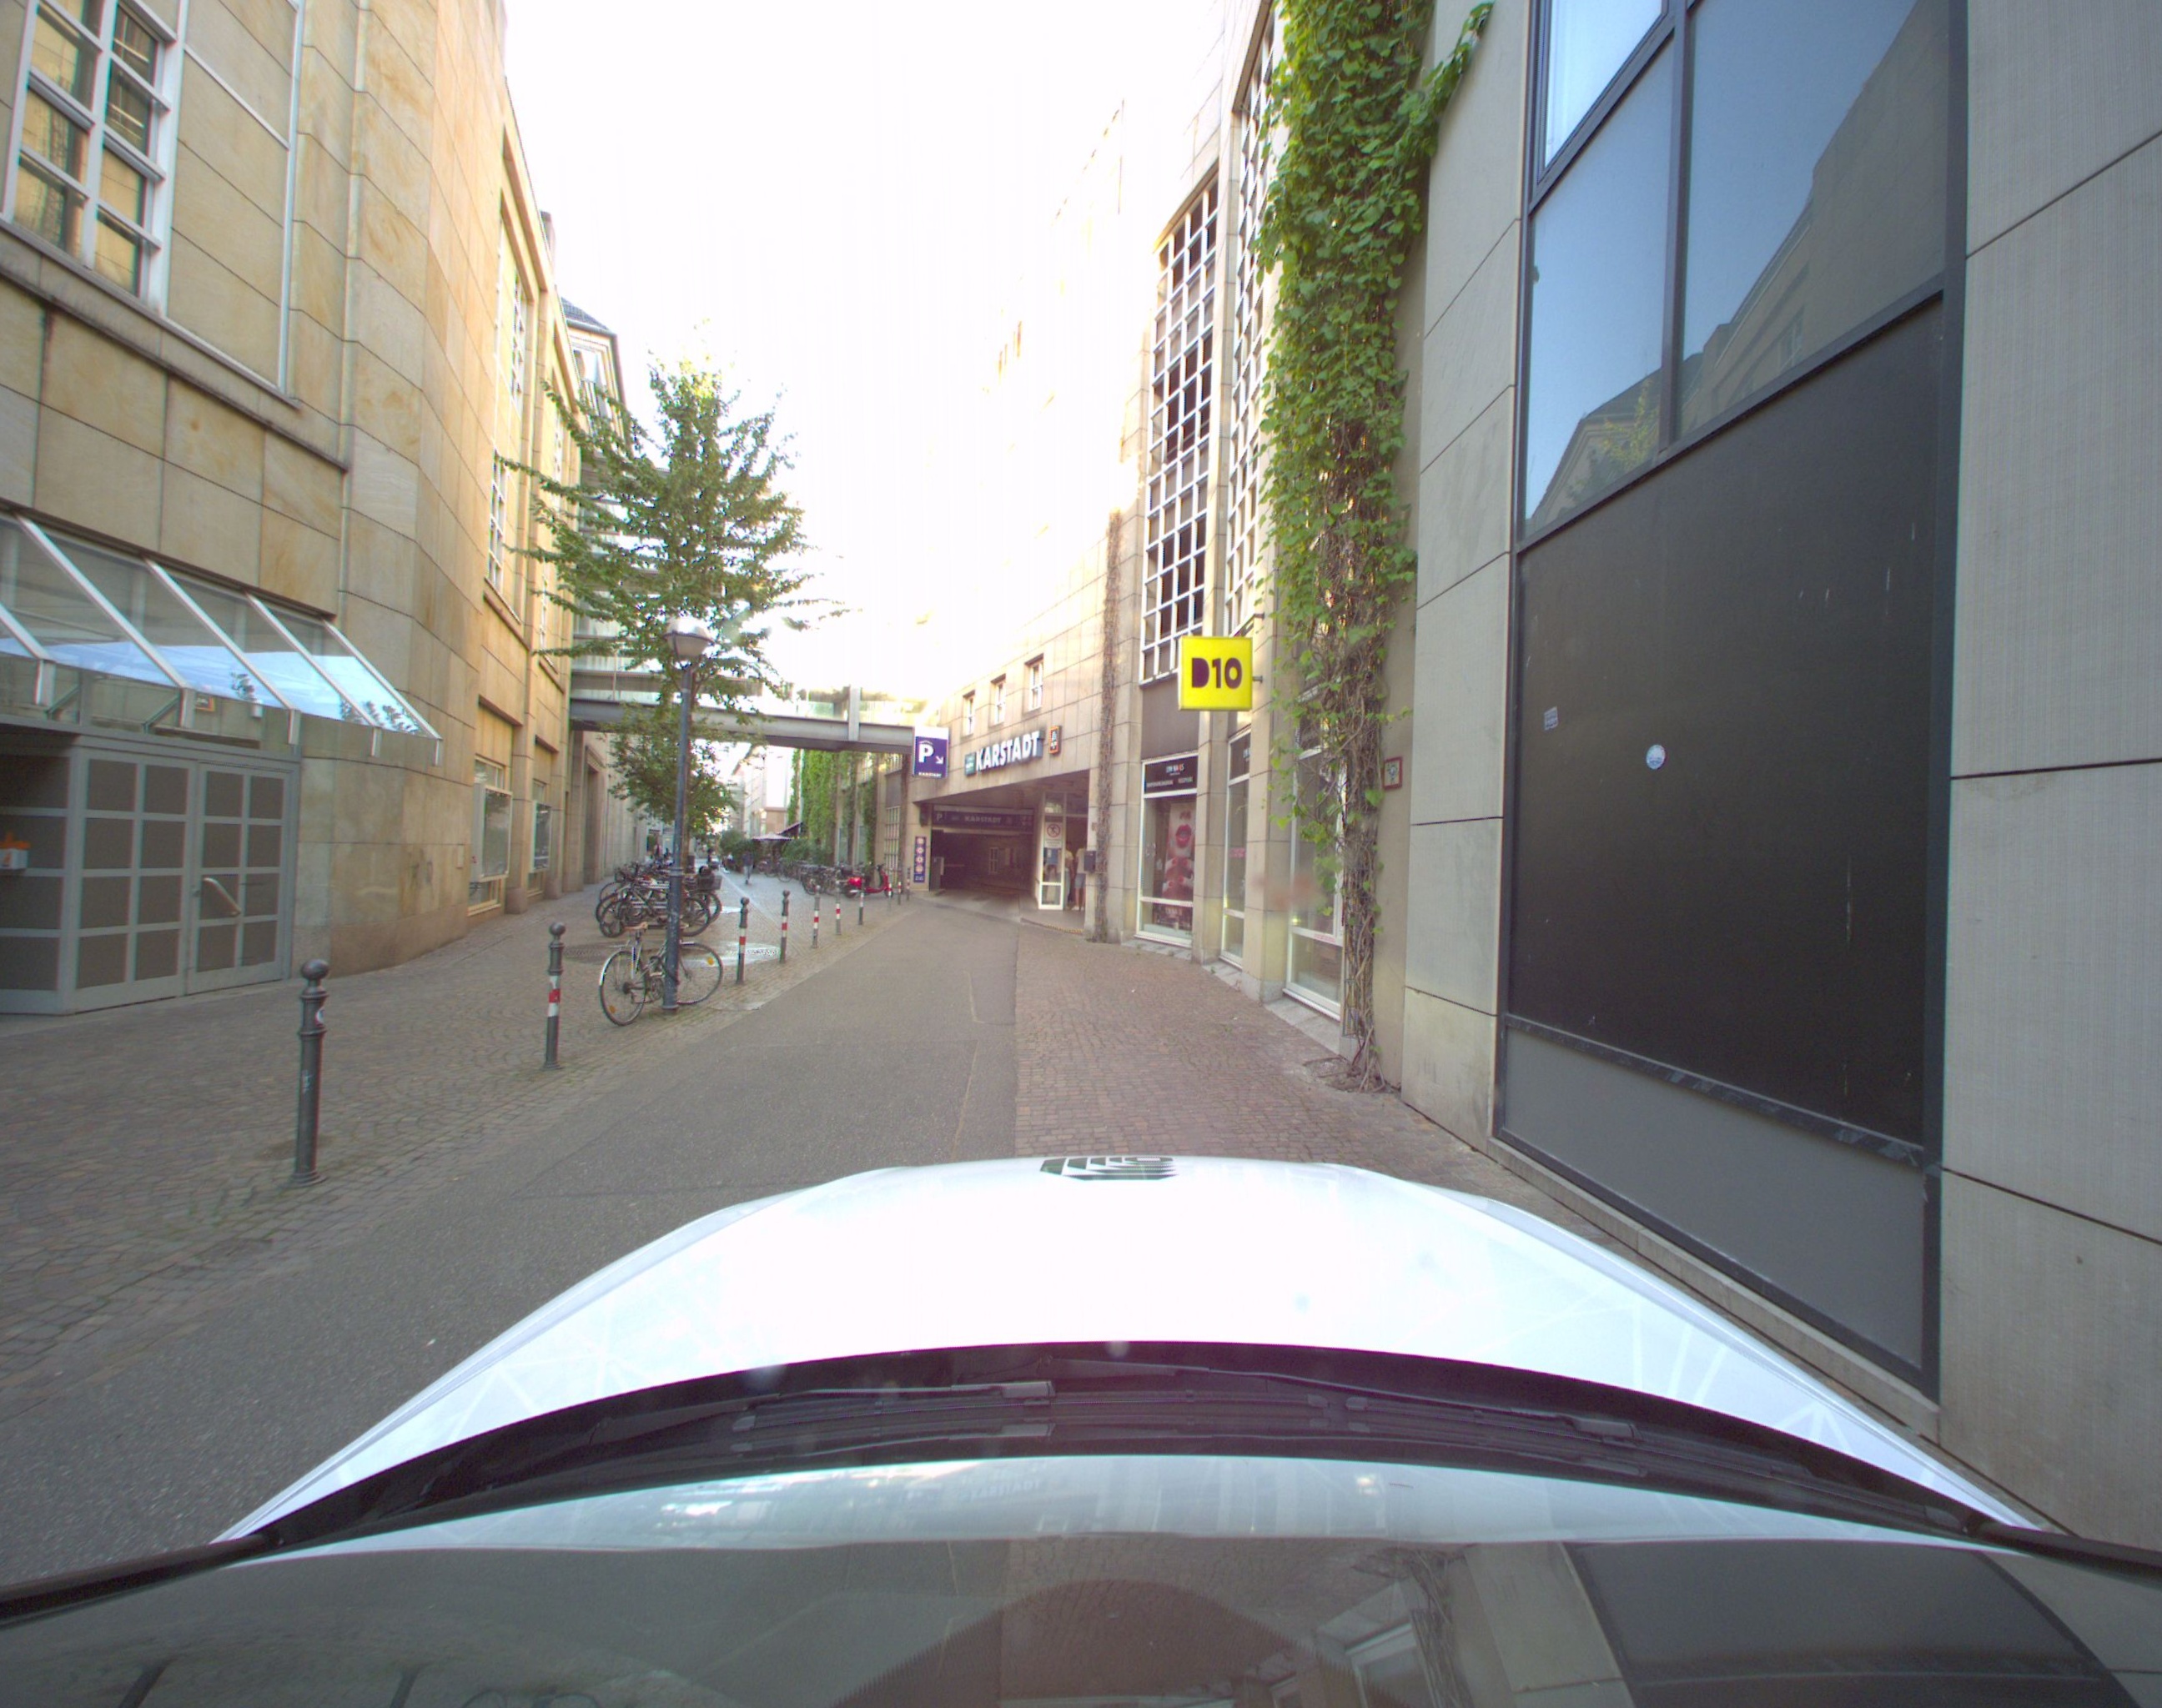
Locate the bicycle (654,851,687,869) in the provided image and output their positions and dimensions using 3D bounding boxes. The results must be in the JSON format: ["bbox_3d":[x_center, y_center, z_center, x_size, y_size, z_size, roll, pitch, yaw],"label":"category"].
[{"bbox_3d":[-28.044,0.422,55.652,1.920,1.182,0.691,2,0,-22],"label":"bicycle"}]

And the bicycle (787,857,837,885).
[{"bbox_3d":[-11.554,0.710,35.017,2.003,1.182,0.688,0,0,-24],"label":"bicycle"}]

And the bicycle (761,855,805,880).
[{"bbox_3d":[-14.631,0.646,39.992,2.003,1.182,0.688,0,0,-24],"label":"bicycle"}]

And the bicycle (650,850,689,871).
[{"bbox_3d":[-23.447,0.379,46.438,1.920,1.182,0.691,2,0,-22],"label":"bicycle"}]

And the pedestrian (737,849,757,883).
[{"bbox_3d":[-15.286,0.548,37.271,0.752,1.509,0.632,1,-1,-27],"label":"pedestrian"}]

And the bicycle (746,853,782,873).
[{"bbox_3d":[-18.963,0.530,48.757,2.003,1.182,0.688,0,0,-24],"label":"bicycle"}]

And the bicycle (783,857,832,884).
[{"bbox_3d":[-12.082,0.724,36.044,2.003,1.182,0.688,0,0,-24],"label":"bicycle"}]

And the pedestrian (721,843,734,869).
[{"bbox_3d":[-24.582,0.126,56.595,0.769,1.804,0.770,1,-1,-26],"label":"pedestrian"}]

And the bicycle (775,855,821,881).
[{"bbox_3d":[-13.317,0.659,38.294,2.003,1.182,0.688,0,0,-24],"label":"bicycle"}]

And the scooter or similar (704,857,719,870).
[{"bbox_3d":[-25.347,0.649,55.844,0.896,0.843,0.904,1,0,-26],"label":"scooter or similar"}]

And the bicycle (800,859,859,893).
[{"bbox_3d":[-9.120,0.782,29.535,2.003,1.182,0.796,0,0,-24],"label":"bicycle"}]

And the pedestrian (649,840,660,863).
[{"bbox_3d":[-34.354,-0.218,65.618,0.778,1.804,0.628,1,-1,-27],"label":"pedestrian"}]

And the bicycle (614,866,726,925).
[{"bbox_3d":[-8.187,0.826,16.308,1.922,1.101,0.690,2,0,-25],"label":"bicycle"}]

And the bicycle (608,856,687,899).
[{"bbox_3d":[-12.475,0.684,23.487,1.920,1.182,0.691,2,0,-22],"label":"bicycle"}]

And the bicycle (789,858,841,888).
[{"bbox_3d":[-11.037,0.772,33.826,2.003,1.182,0.688,0,0,-24],"label":"bicycle"}]

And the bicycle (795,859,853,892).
[{"bbox_3d":[-9.659,0.781,30.621,2.003,1.182,0.796,0,0,-24],"label":"bicycle"}]

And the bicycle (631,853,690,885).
[{"bbox_3d":[-16.267,0.572,31.547,1.920,1.182,0.691,2,0,-22],"label":"bicycle"}]

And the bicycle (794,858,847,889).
[{"bbox_3d":[-10.544,0.782,32.987,2.003,1.182,0.688,0,0,-24],"label":"bicycle"}]

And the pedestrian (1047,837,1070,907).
[{"bbox_3d":[-0.588,0.470,21.724,0.540,1.846,0.408,2,0,1],"label":"pedestrian"}]

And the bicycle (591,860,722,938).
[{"bbox_3d":[-7.268,0.753,14.056,1.922,1.261,0.802,2,0,-25],"label":"bicycle"}]

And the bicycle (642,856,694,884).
[{"bbox_3d":[-17.753,0.691,35.062,1.920,1.182,0.691,2,0,-22],"label":"bicycle"}]

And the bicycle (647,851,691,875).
[{"bbox_3d":[-21.528,0.484,42.594,1.920,1.182,0.691,2,0,-22],"label":"bicycle"}]

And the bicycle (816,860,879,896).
[{"bbox_3d":[-8.006,0.802,27.895,2.003,1.182,0.690,0,0,-24],"label":"bicycle"}]

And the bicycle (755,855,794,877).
[{"bbox_3d":[-16.734,0.626,44.465,2.003,1.182,0.688,0,0,-24],"label":"bicycle"}]

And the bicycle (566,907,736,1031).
[{"bbox_3d":[-4.135,1.060,7.984,0.502,0.966,1.699,1,0,10],"label":"bicycle"}]

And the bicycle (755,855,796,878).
[{"bbox_3d":[-16.397,0.646,43.685,2.003,1.182,0.688,0,0,-24],"label":"bicycle"}]

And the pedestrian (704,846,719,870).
[{"bbox_3d":[-25.714,0.264,56.666,0.896,1.639,0.904,1,-1,-26],"label":"pedestrian"}]

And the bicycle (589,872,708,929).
[{"bbox_3d":[-8.119,0.871,15.392,1.922,0.994,0.690,2,0,-25],"label":"bicycle"}]

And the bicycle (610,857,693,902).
[{"bbox_3d":[-11.829,0.703,22.503,1.920,1.182,0.691,2,0,-22],"label":"bicycle"}]

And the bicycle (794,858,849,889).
[{"bbox_3d":[-10.209,0.747,32.028,2.003,1.182,0.796,0,0,-24],"label":"bicycle"}]

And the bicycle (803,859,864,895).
[{"bbox_3d":[-8.713,0.795,28.690,2.003,1.182,0.690,0,0,-24],"label":"bicycle"}]

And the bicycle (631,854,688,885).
[{"bbox_3d":[-16.692,0.615,32.316,1.920,1.182,0.691,2,0,-22],"label":"bicycle"}]

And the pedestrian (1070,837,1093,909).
[{"bbox_3d":[0.016,0.491,21.544,0.540,1.861,0.408,2,0,1],"label":"pedestrian"}]

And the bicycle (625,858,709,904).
[{"bbox_3d":[-11.061,0.725,21.834,1.920,1.182,0.691,2,0,-22],"label":"bicycle"}]

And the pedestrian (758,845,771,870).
[{"bbox_3d":[-23.746,0.252,61.121,0.778,1.804,0.761,2,-1,-27],"label":"pedestrian"}]

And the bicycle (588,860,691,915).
[{"bbox_3d":[-9.844,0.757,18.245,1.920,1.182,0.691,2,0,-22],"label":"bicycle"}]

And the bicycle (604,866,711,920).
[{"bbox_3d":[-9.011,0.833,17.420,1.920,1.101,0.691,2,0,-22],"label":"bicycle"}]

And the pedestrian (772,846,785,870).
[{"bbox_3d":[-22.740,0.282,61.254,0.778,1.804,0.761,2,-1,-27],"label":"pedestrian"}]

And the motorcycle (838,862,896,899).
[{"bbox_3d":[-6.913,0.845,26.318,1.753,1.155,0.590,0,0,-22],"label":"motorcycle"}]
